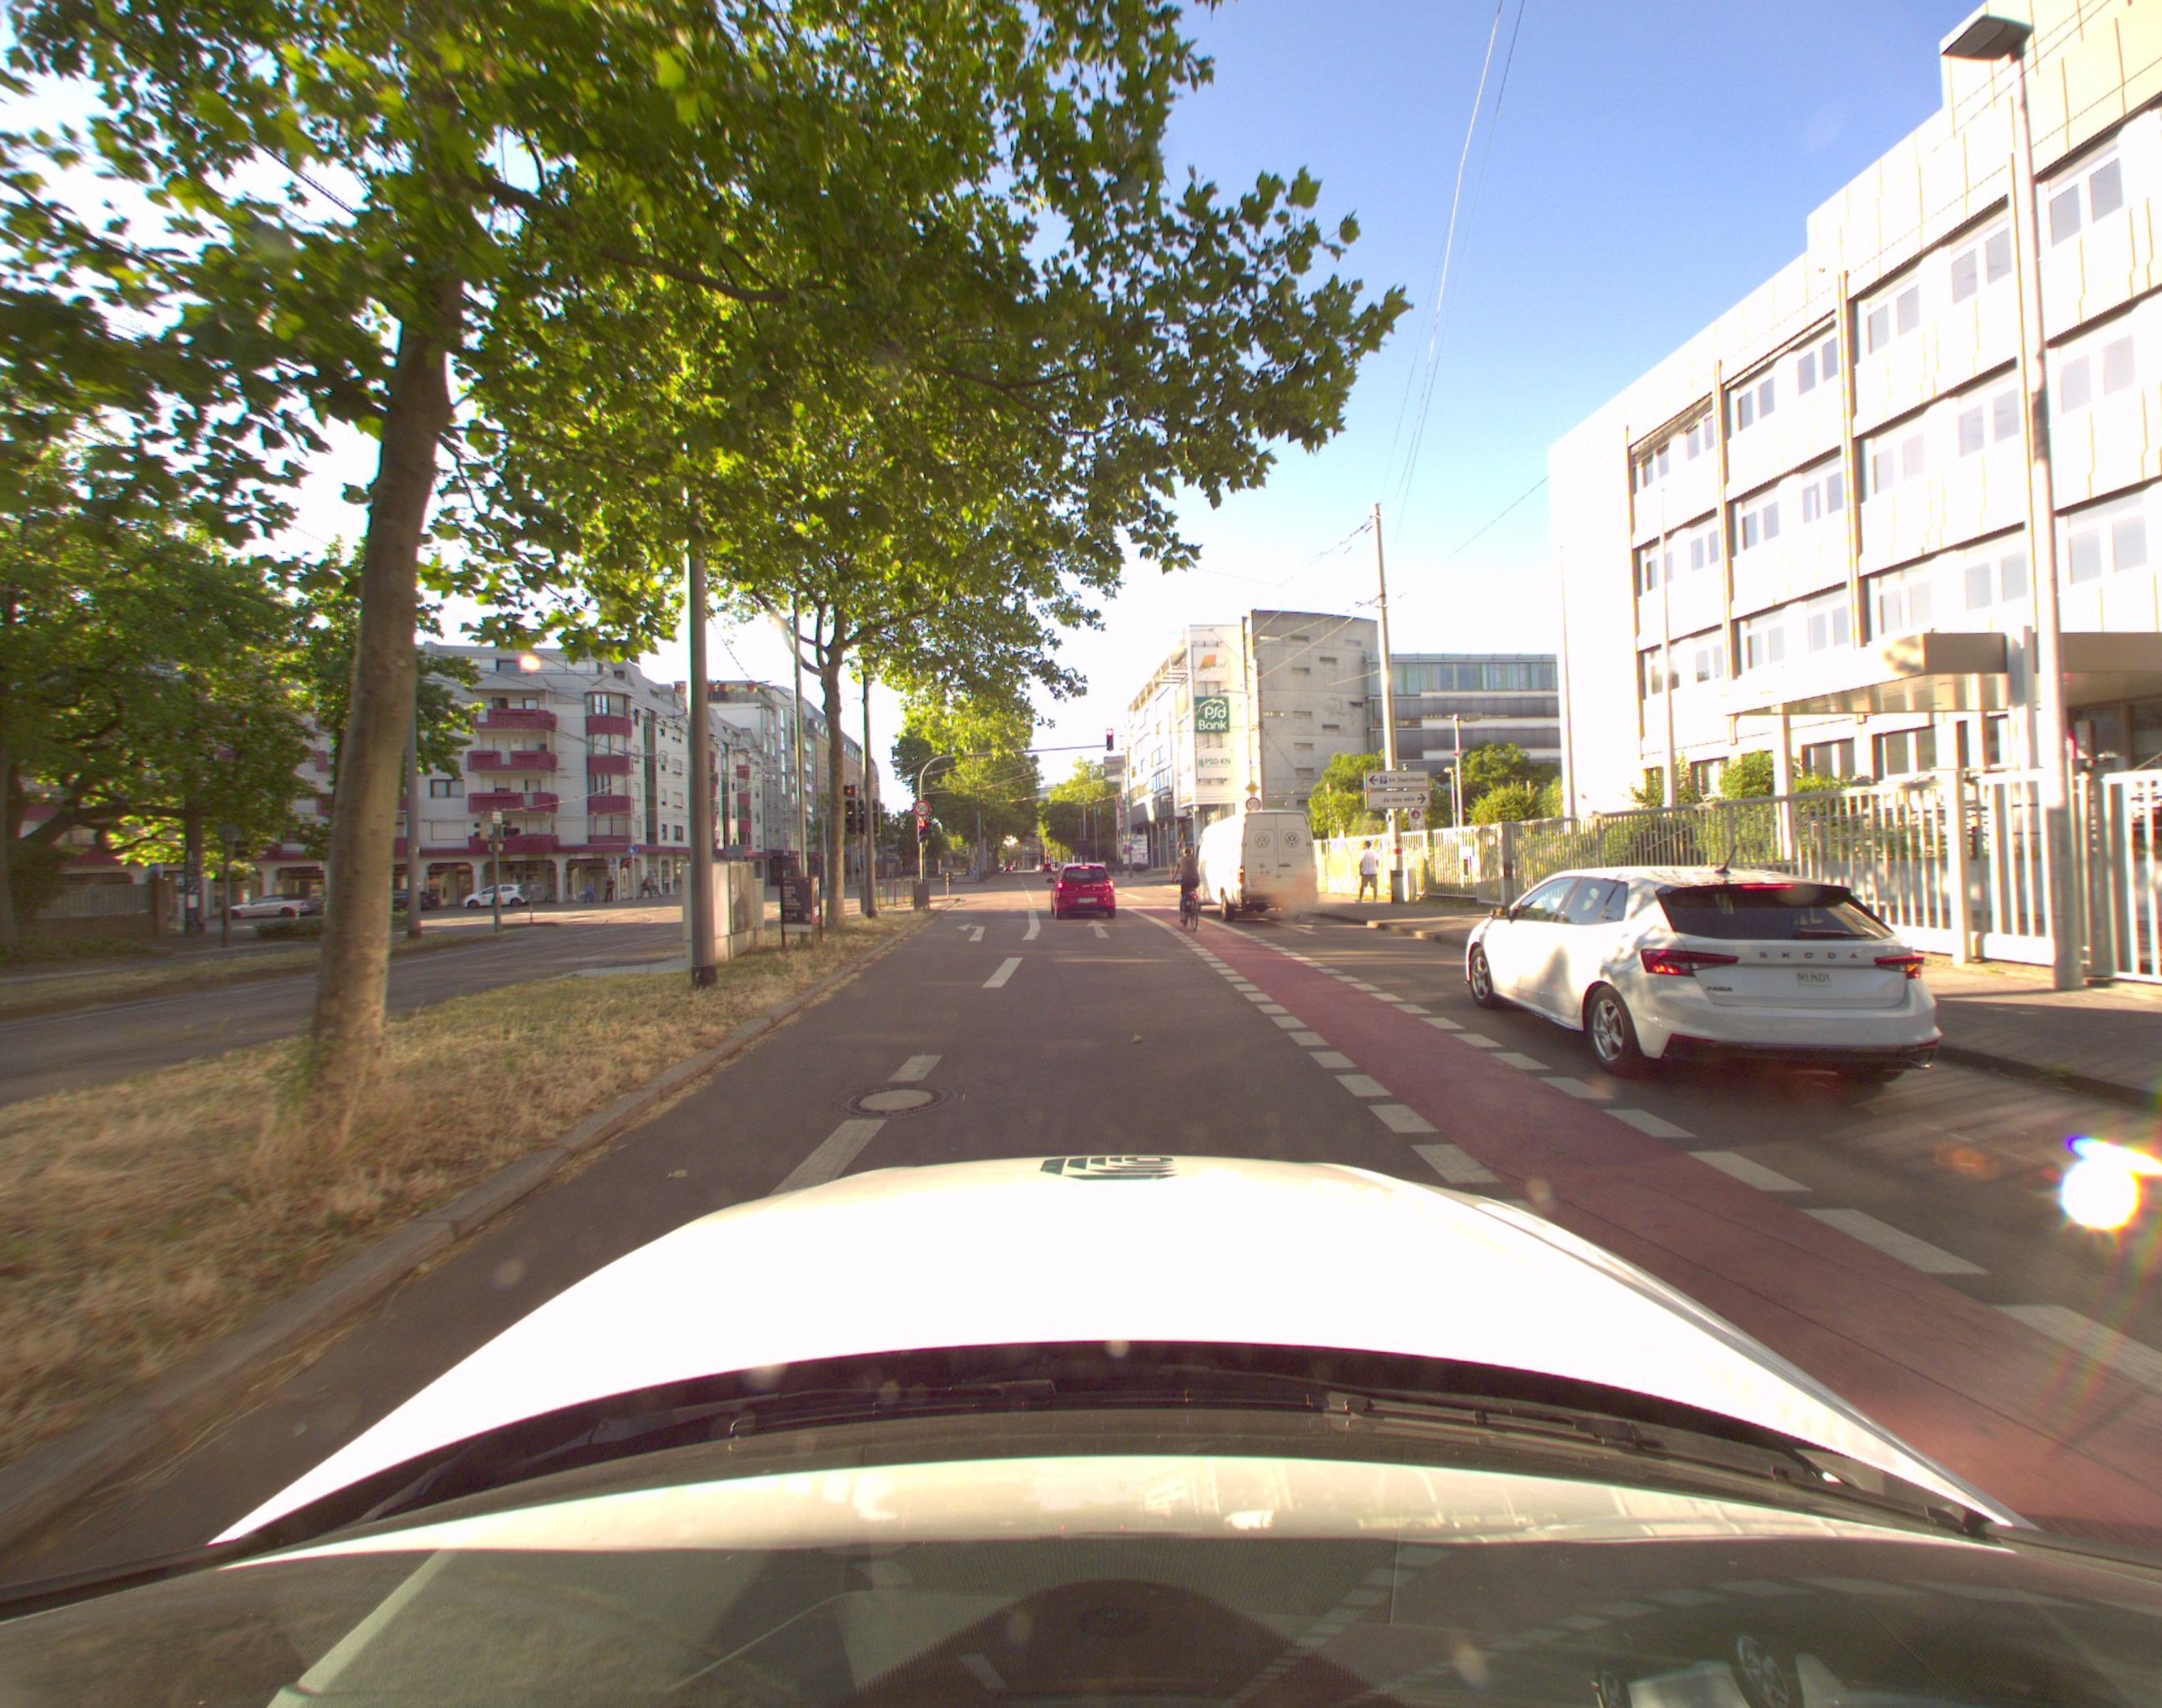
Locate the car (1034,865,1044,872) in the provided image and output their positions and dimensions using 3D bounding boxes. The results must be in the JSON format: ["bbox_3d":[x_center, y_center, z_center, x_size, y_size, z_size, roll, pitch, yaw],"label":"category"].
[{"bbox_3d":[-10.015,3.381,195.178,1.884,1.528,4.419,-3,0,-8],"label":"car"}]

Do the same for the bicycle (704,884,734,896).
[{"bbox_3d":[-29.535,2.933,66.412,2.168,0.787,0.490,-2,-1,-9],"label":"bicycle"}]

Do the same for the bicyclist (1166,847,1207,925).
[{"bbox_3d":[2.320,0.686,17.979,0.742,1.669,0.743,0,0,-5],"label":"bicyclist"}]

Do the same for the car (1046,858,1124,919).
[{"bbox_3d":[0.032,0.910,22.937,1.836,1.489,3.709,-2,0,-5],"label":"car"}]

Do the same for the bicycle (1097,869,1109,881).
[{"bbox_3d":[2.216,2.117,82.242,0.792,1.161,2.492,-2,-1,-9],"label":"bicycle"}]

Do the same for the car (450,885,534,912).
[{"bbox_3d":[-38.406,2.896,53.231,3.997,1.464,1.791,-3,-1,-17],"label":"car"}]

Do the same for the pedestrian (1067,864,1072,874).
[{"bbox_3d":[-1.894,2.521,139.268,0.741,1.716,0.747,-2,-1,-5],"label":"pedestrian"}]

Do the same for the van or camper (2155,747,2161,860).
[{"bbox_3d":[18.759,-0.850,10.880,1.978,1.909,4.989,-3,0,-6],"label":"van or camper"}]

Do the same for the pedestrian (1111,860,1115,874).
[{"bbox_3d":[3.619,1.524,92.646,0.310,1.562,0.297,-3,-1,32],"label":"pedestrian"}]

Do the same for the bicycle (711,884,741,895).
[{"bbox_3d":[-29.517,2.952,67.775,2.168,0.824,0.526,-2,-1,-9],"label":"bicycle"}]

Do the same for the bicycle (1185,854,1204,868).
[{"bbox_3d":[12.720,0.787,91.326,1.932,1.443,0.574,-3,-1,-7],"label":"bicycle"}]

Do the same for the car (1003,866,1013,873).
[{"bbox_3d":[-17.062,3.635,190.783,2.058,1.654,3.480,-3,0,-10],"label":"car"}]

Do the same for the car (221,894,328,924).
[{"bbox_3d":[-49.550,3.343,50.147,4.266,1.464,1.792,-3,-1,-16],"label":"car"}]

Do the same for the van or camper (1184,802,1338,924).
[{"bbox_3d":[4.462,0.238,21.448,2.265,2.734,6.336,0,-1,-4],"label":"van or camper"}]

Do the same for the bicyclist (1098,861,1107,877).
[{"bbox_3d":[2.146,1.510,82.513,0.785,1.635,0.637,-2,-1,-10],"label":"bicyclist"}]

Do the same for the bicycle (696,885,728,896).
[{"bbox_3d":[-29.721,2.931,65.629,2.168,0.787,0.639,-2,-1,-9],"label":"bicycle"}]

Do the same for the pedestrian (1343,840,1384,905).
[{"bbox_3d":[7.947,0.511,22.959,0.784,1.748,0.771,-3,-1,-3],"label":"pedestrian"}]

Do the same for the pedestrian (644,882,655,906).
[{"bbox_3d":[-31.815,2.933,60.063,0.511,1.699,0.525,-2,-1,-15],"label":"pedestrian"}]

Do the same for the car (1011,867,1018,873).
[{"bbox_3d":[-17.276,4.170,212.514,1.655,1.607,3.523,-3,0,-6],"label":"car"}]

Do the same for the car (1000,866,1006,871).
[{"bbox_3d":[-22.097,4.093,231.874,1.573,1.306,3.332,-3,0,-6],"label":"car"}]

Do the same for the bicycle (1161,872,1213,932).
[{"bbox_3d":[2.315,1.023,18.052,0.742,1.224,2.153,0,0,-4],"label":"bicycle"}]

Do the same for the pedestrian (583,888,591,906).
[{"bbox_3d":[-33.694,2.918,55.518,0.303,1.214,0.317,-3,-1,-11],"label":"pedestrian"}]

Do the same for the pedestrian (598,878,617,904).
[{"bbox_3d":[-31.526,2.434,54.178,0.708,1.662,1.030,-3,-1,-10],"label":"pedestrian"}]

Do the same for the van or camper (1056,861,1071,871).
[{"bbox_3d":[-3.278,2.222,148.200,2.144,1.750,4.419,-3,0,-8],"label":"van or camper"}]

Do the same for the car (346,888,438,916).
[{"bbox_3d":[-43.566,3.006,51.623,3.998,1.464,1.791,-3,-1,-18],"label":"car"}]

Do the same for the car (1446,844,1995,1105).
[{"bbox_3d":[4.617,0.730,6.783,1.792,1.501,3.989,-1,-1,7],"label":"car"}]

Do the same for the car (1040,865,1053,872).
[{"bbox_3d":[-7.505,3.116,176.452,2.476,1.528,4.421,-3,0,-7],"label":"car"}]

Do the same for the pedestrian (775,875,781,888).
[{"bbox_3d":[-34.410,3.166,92.488,0.510,1.459,0.527,-2,-1,-7],"label":"pedestrian"}]
